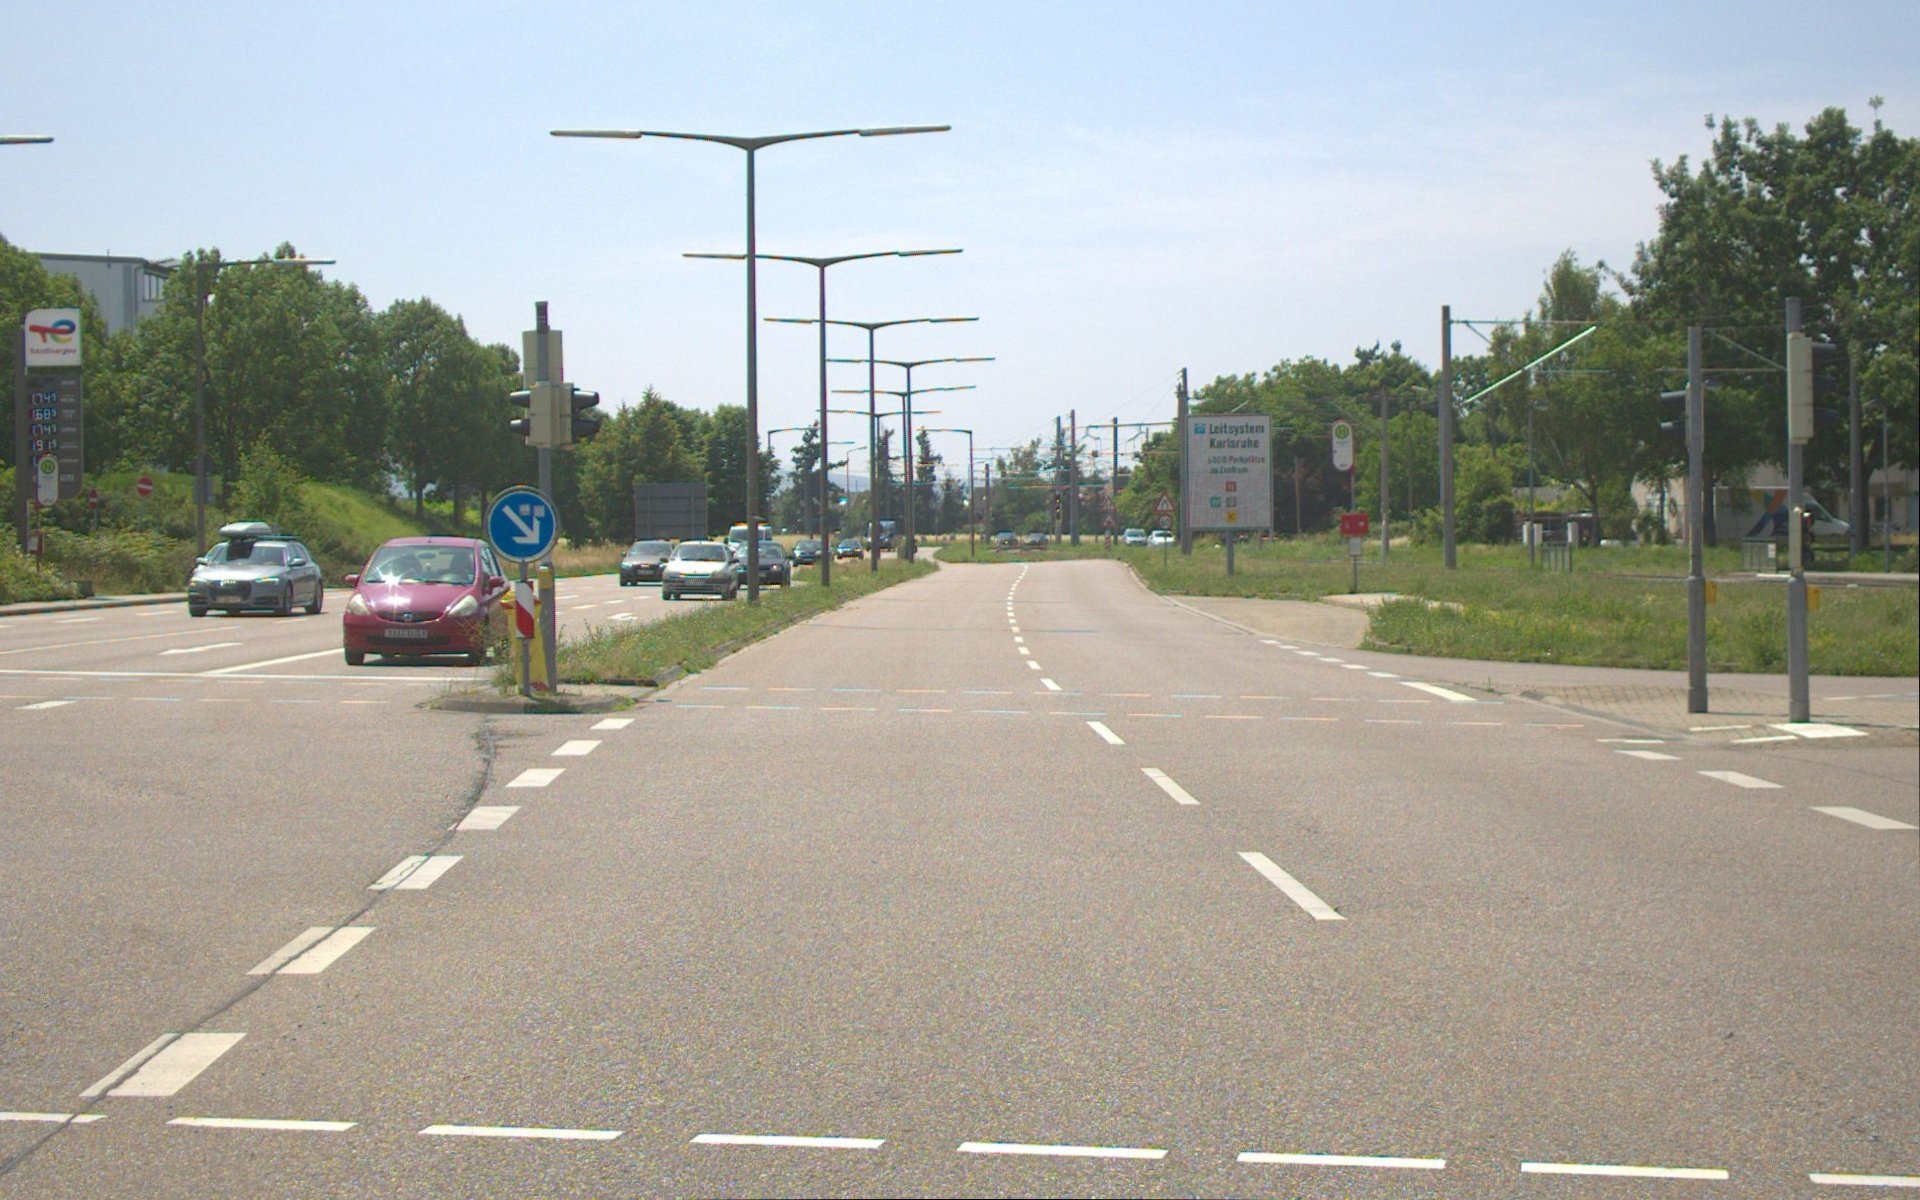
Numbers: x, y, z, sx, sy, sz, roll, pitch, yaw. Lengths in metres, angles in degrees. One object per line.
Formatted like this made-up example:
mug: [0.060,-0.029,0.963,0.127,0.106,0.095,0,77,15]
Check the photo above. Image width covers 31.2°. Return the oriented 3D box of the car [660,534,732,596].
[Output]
car: [-6.387,-0.875,83.474,1.560,1.418,3.854,0,2,-1]

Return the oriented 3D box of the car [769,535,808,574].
car: [-9.112,-2.391,182.232,1.993,2.007,4.001,1,0,-4]

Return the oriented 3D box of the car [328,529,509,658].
car: [-6.554,-0.119,41.954,1.658,1.485,4.000,0,1,-1]

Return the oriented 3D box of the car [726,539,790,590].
car: [-5.918,-1.056,101.081,1.675,1.429,4.191,0,1,-1]

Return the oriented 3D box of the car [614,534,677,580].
car: [-9.971,-1.379,109.331,1.637,1.424,4.052,0,1,0]

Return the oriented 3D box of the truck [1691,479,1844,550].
truck: [34.645,-3.674,147.573,5.839,2.833,2.321,-2,1,-7]

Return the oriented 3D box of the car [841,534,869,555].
car: [-7.678,-4.072,251.875,1.731,1.453,4.564,-1,1,3]

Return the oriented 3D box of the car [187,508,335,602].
car: [-13.529,-0.894,66.800,1.964,1.744,5.023,0,1,-1]
